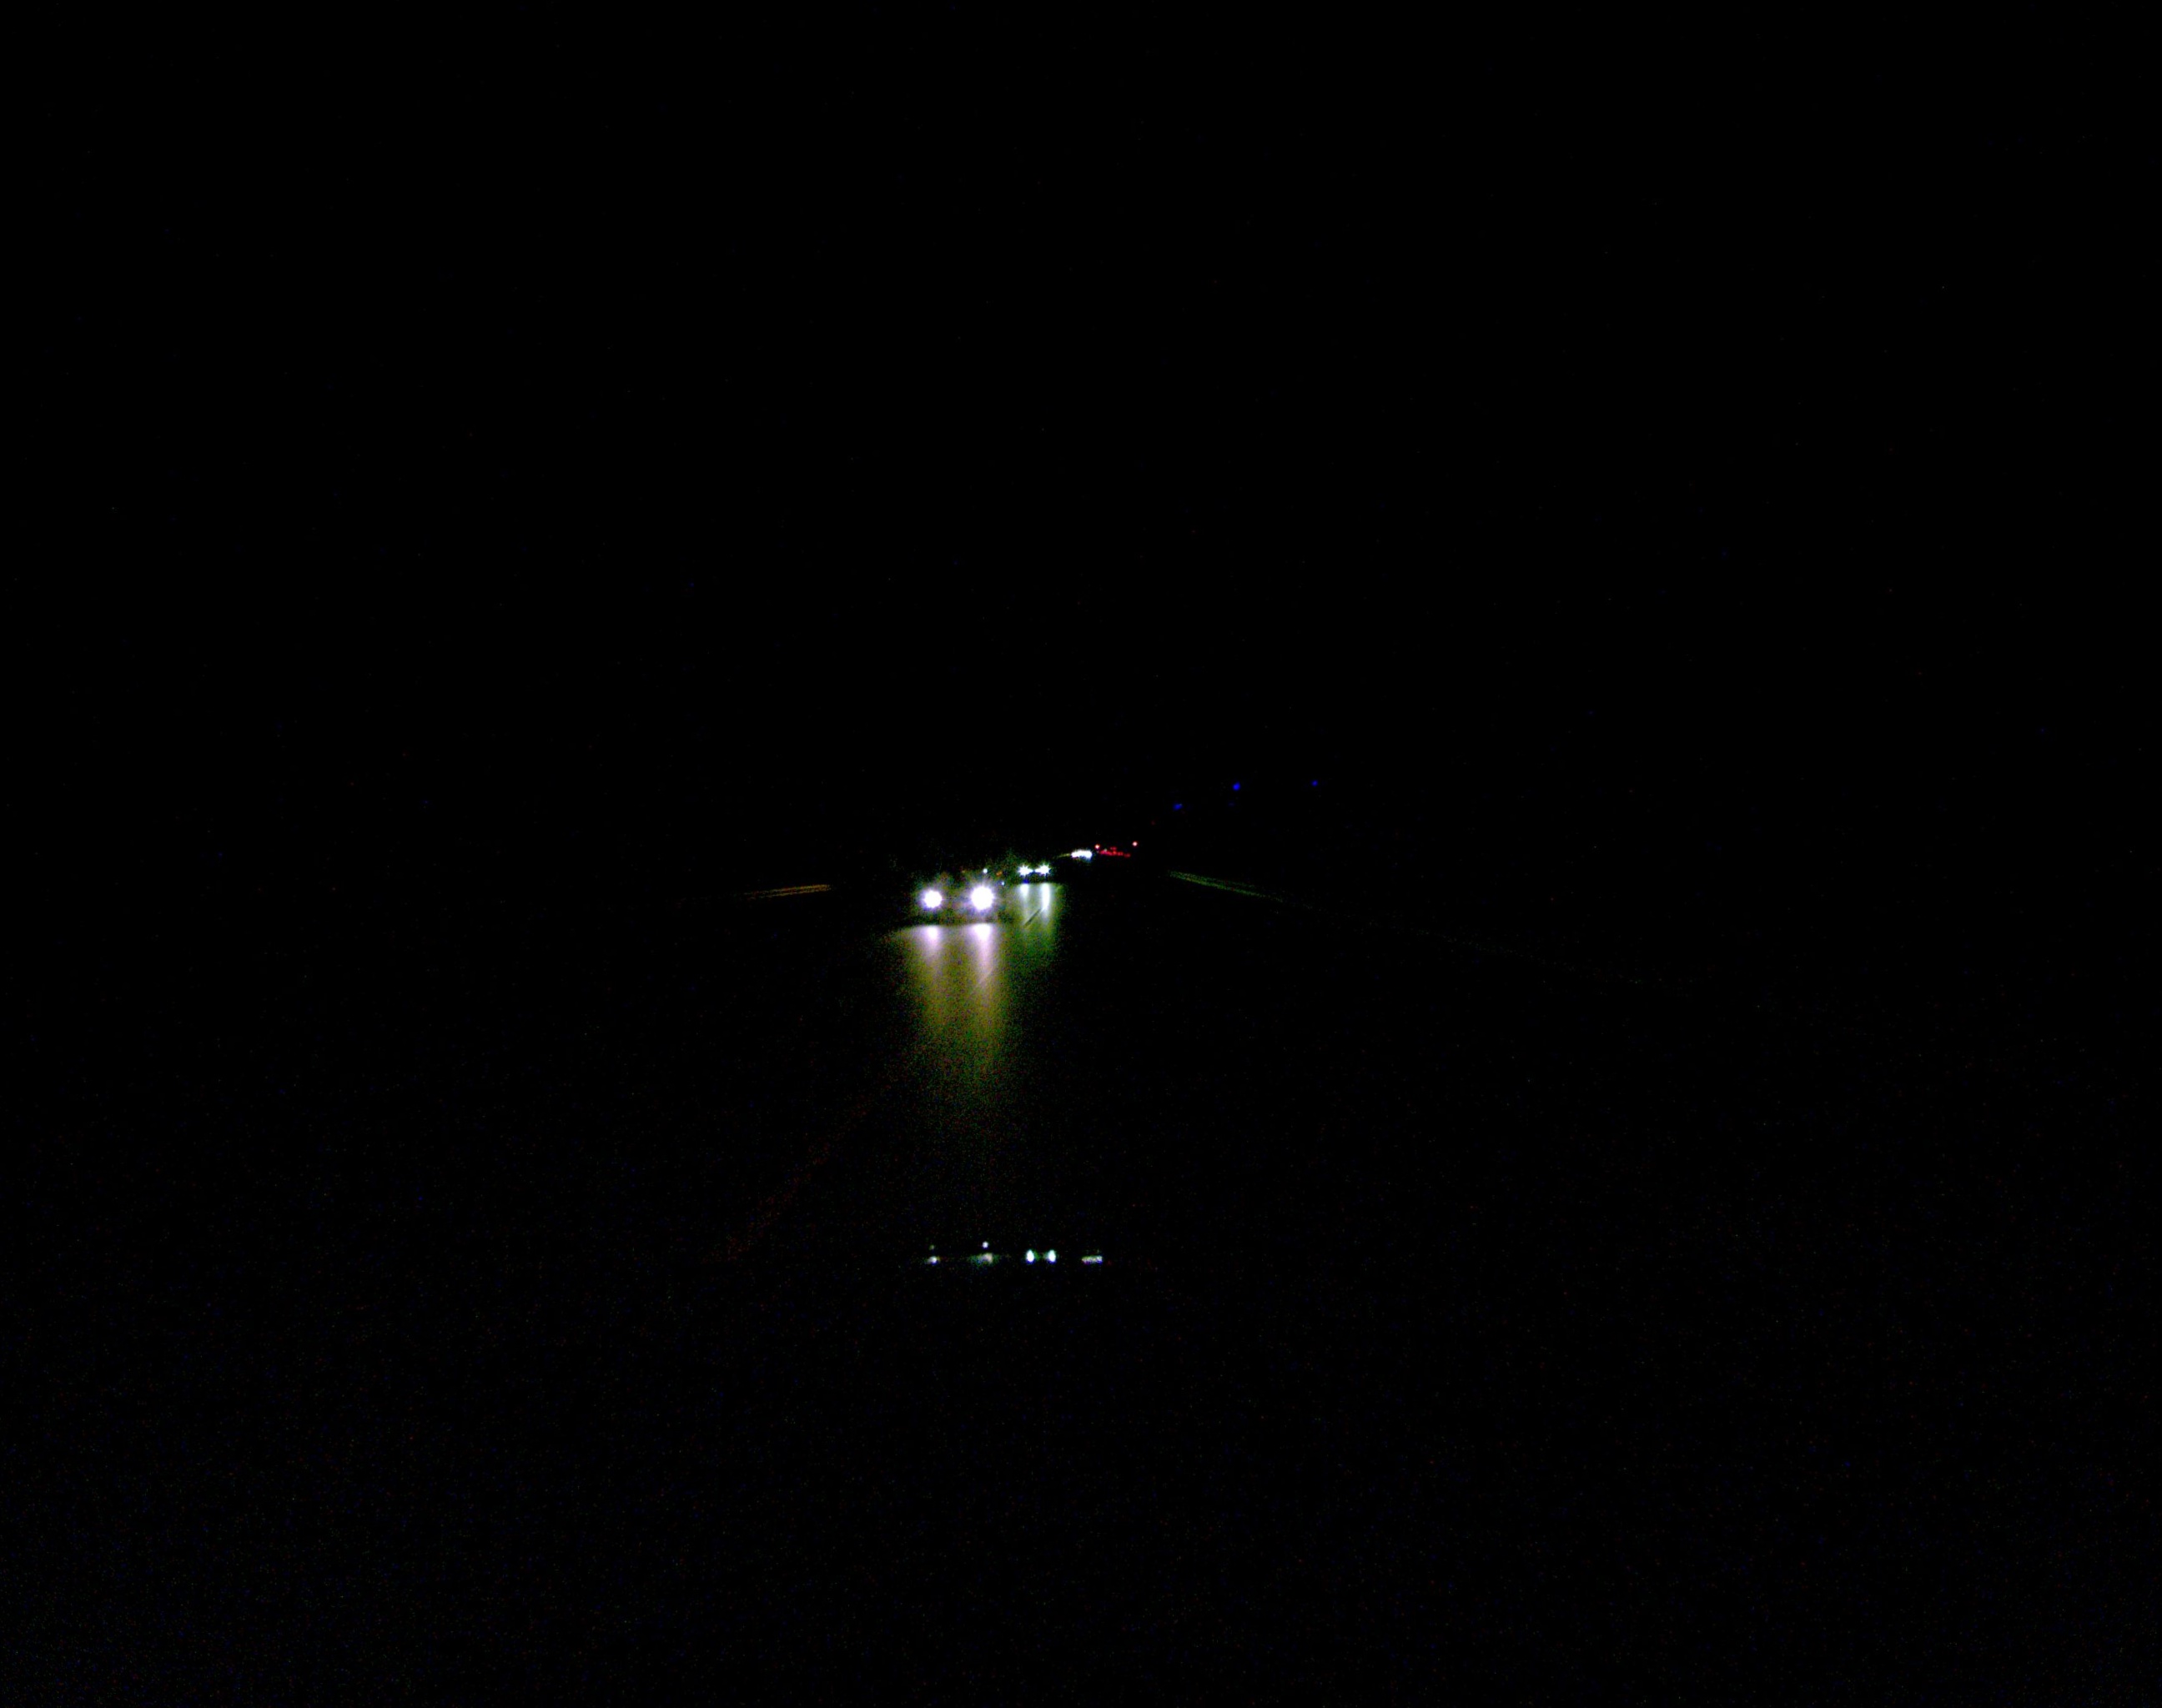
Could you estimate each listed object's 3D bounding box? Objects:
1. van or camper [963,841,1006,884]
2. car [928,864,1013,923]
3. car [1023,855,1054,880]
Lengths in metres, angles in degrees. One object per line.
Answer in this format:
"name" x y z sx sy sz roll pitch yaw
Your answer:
"van or camper" -6.786 0.549 54.242 2.213 2.755 6.802 -3 0 -2
"car" -2.987 1.036 21.392 1.690 1.405 4.226 -3 -1 1
"car" -2.848 0.880 52.265 1.795 1.532 4.225 -2 0 1
